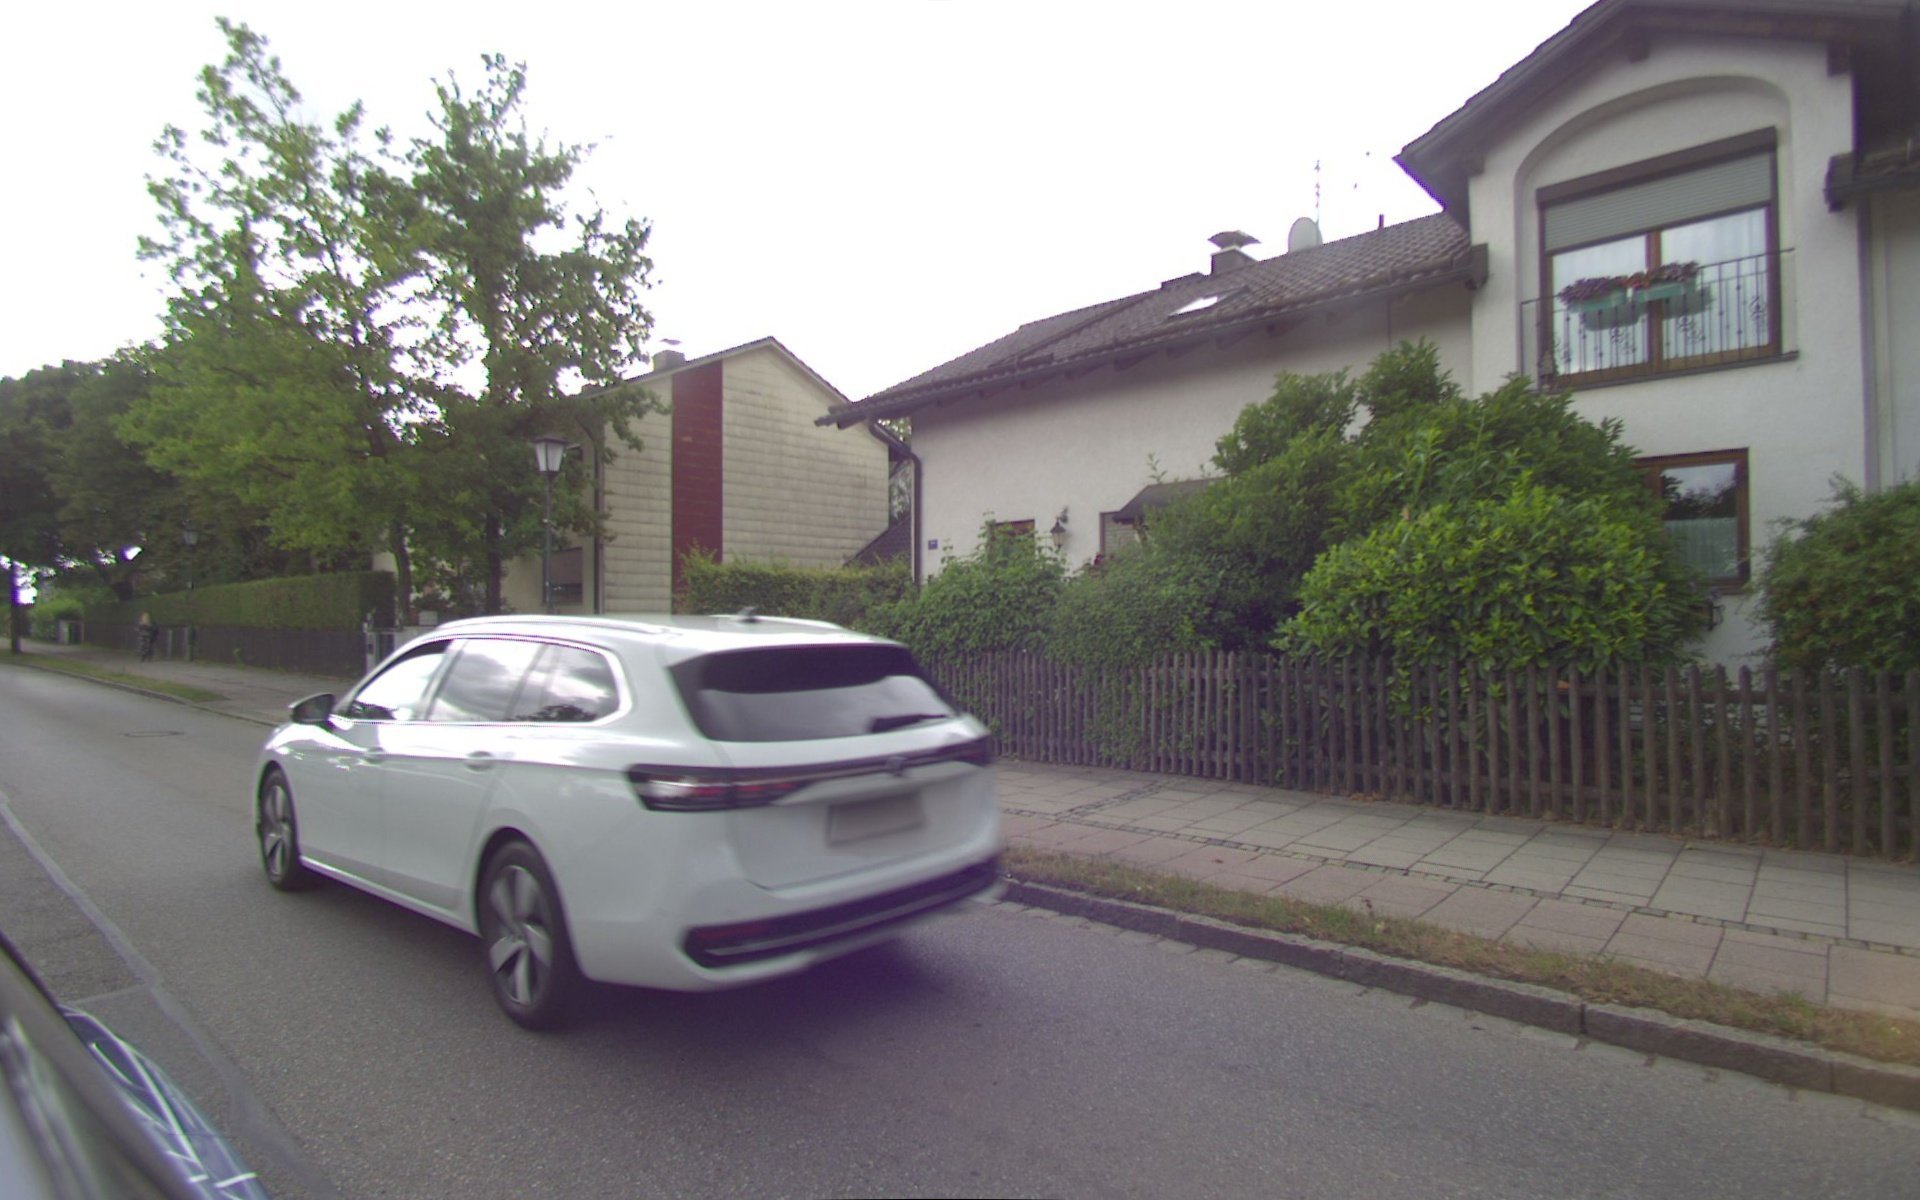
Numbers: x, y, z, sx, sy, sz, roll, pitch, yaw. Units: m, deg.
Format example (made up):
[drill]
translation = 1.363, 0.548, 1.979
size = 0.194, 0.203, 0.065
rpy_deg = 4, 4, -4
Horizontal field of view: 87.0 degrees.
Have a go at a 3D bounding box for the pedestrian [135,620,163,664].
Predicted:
[pedestrian]
translation = -26.804, 1.379, 33.458
size = 0.563, 1.448, 0.623
rpy_deg = -1, -2, 41

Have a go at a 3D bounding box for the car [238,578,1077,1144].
[car]
translation = -1.751, 0.735, 4.786
size = 4.373, 1.495, 1.733
rpy_deg = -1, -2, 41
